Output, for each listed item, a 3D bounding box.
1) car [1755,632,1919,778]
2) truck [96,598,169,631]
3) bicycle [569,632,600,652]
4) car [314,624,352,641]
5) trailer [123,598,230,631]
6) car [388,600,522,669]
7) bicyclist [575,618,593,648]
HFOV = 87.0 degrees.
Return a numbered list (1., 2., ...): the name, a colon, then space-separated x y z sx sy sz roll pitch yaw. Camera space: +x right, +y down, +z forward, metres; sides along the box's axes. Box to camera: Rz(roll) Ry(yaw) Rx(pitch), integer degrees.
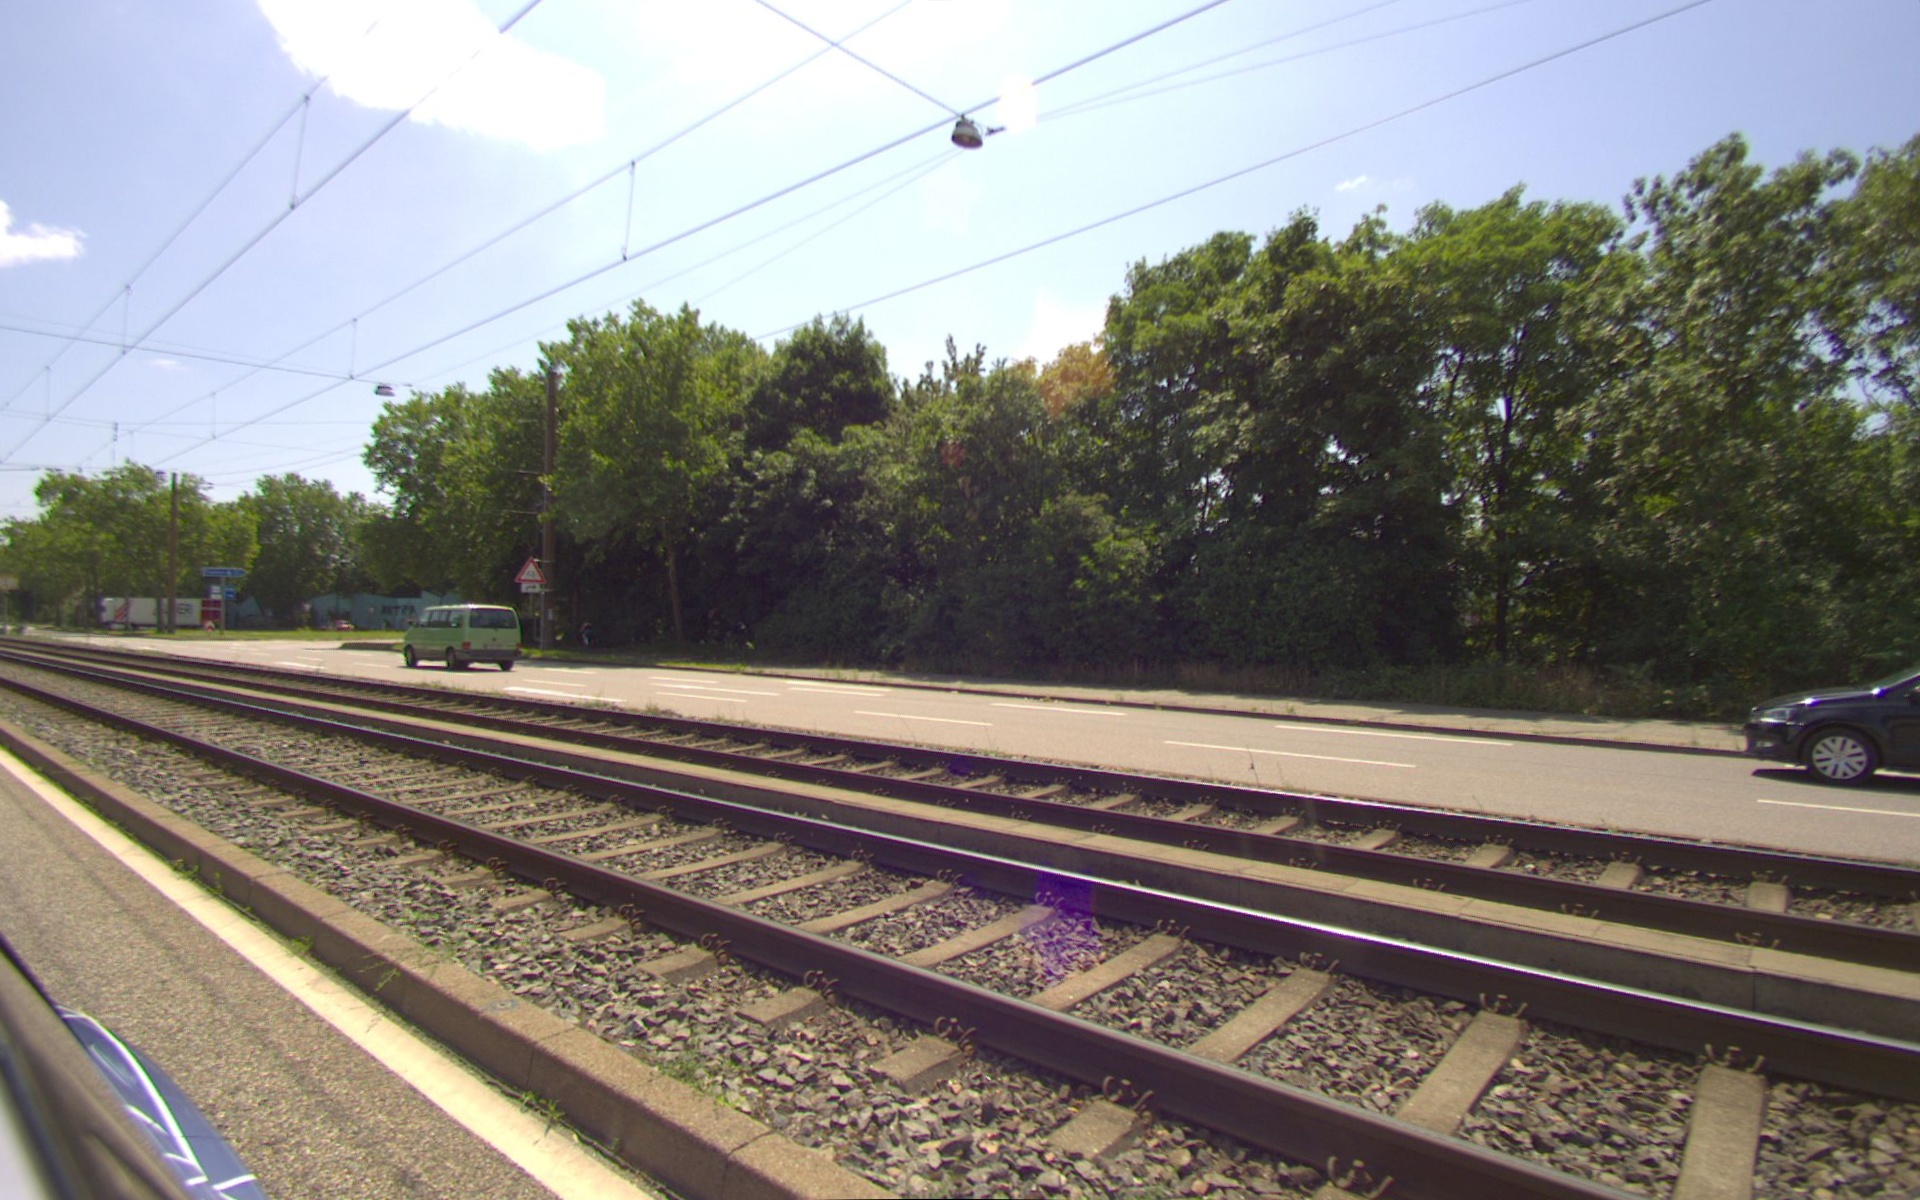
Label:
1. car: 10.160 1.035 9.699 3.927 1.357 1.547 0 -2 41
2. truck: -97.126 1.715 118.798 6.700 3.730 3.400 0 -2 16
3. bicycle: -17.580 1.965 47.338 0.579 0.825 2.070 -1 1 -44
4. car: -67.810 3.488 109.420 3.368 1.805 1.557 0 -2 15
5. trailer: -90.380 1.663 116.748 12.000 3.683 3.371 0 -2 16
6. car: -15.396 0.992 30.733 5.176 1.940 1.792 0 -2 41
7. bicyclist: -17.593 1.522 47.346 0.562 1.378 0.632 0 1 -44
